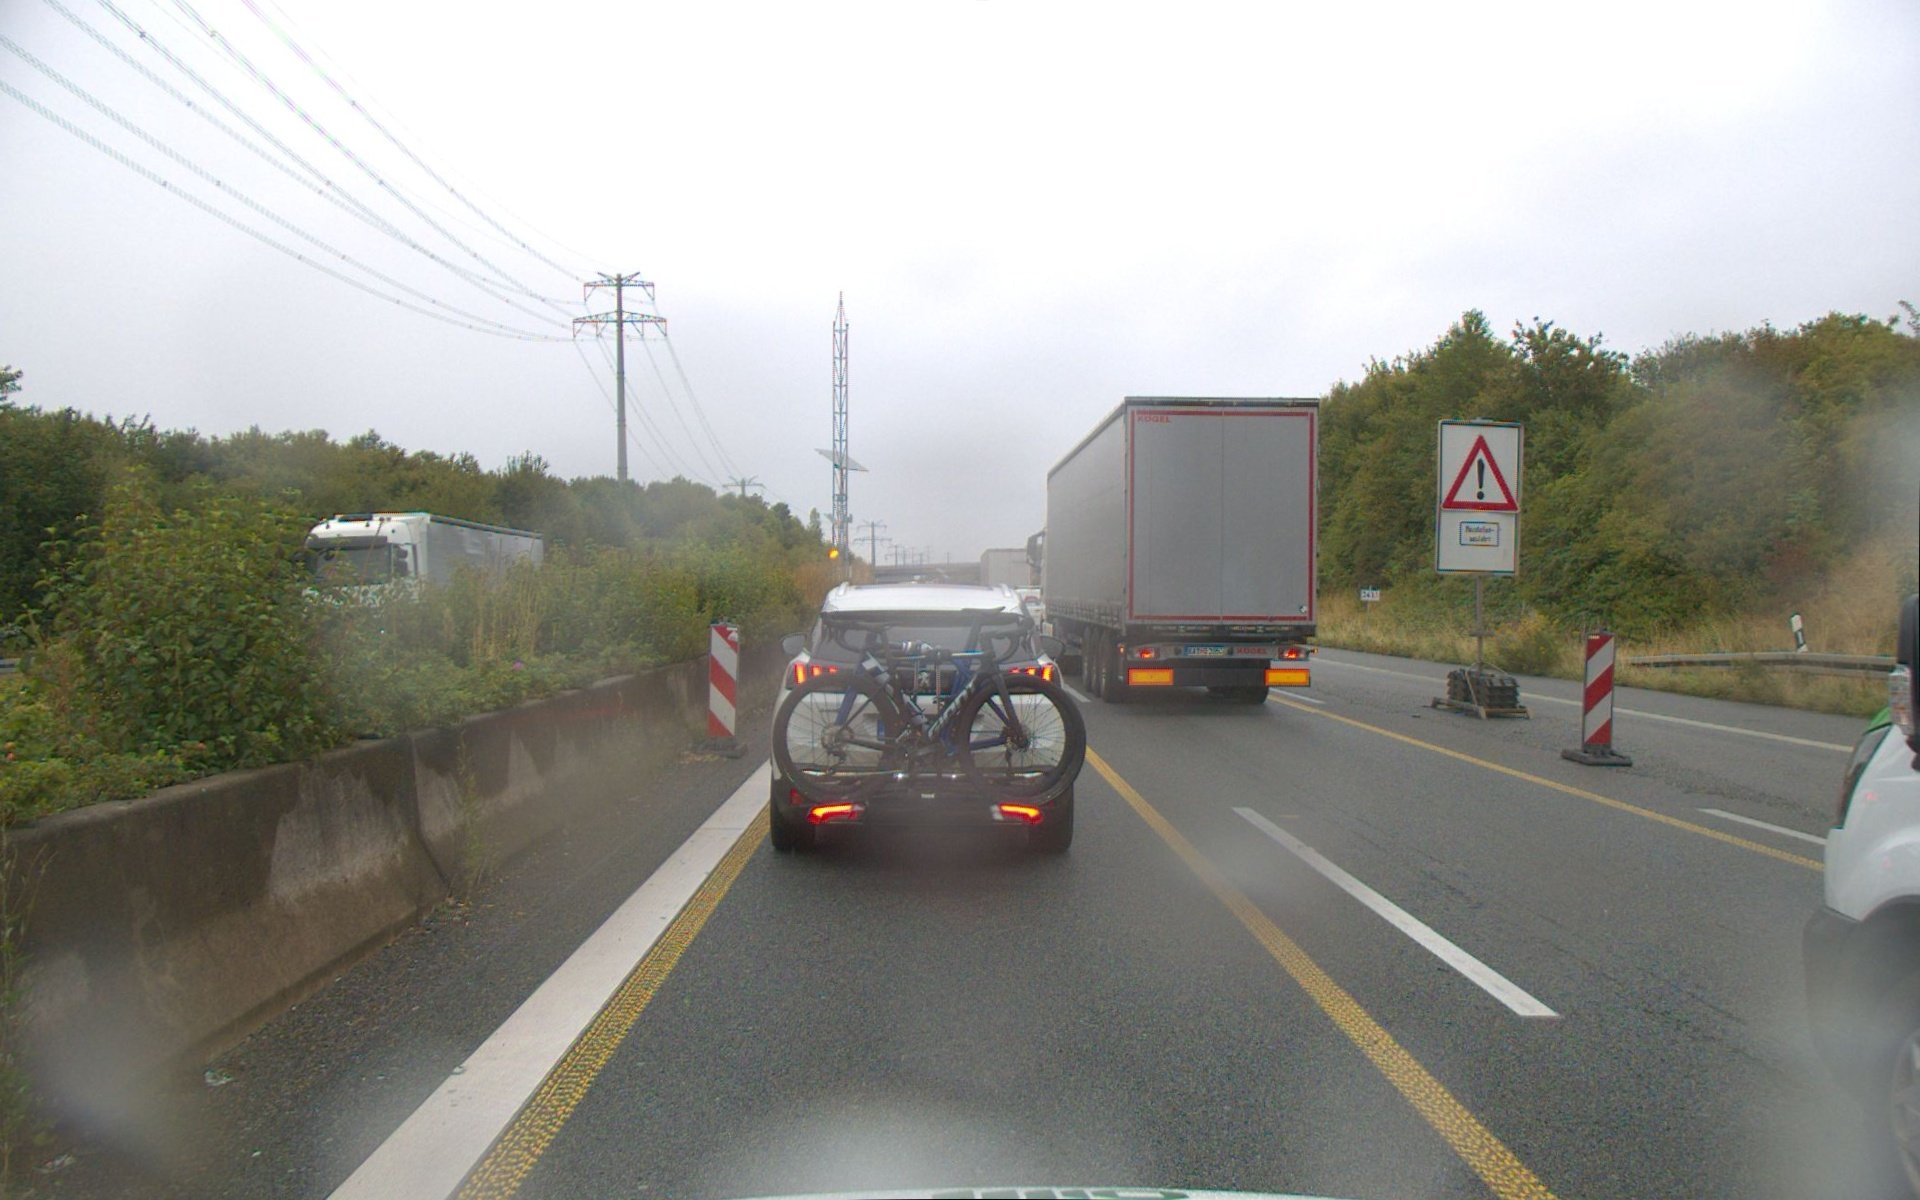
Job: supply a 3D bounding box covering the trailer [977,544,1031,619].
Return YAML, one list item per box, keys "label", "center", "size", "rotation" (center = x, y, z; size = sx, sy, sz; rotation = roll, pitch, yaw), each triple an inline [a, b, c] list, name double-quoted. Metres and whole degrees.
- label: "trailer"
  center: [2.517, -1.050, 99.321]
  size: [2.638, 4.148, 13.630]
  rotation: [0, 0, -1]

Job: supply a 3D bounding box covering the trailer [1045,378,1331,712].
- label: "trailer"
  center: [3.255, -0.714, 27.848]
  size: [2.651, 4.218, 13.728]
  rotation: [0, 0, -1]

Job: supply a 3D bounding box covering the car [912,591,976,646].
- label: "car"
  center: [-0.496, 0.515, 49.036]
  size: [1.812, 1.557, 3.999]
  rotation: [0, 0, -1]

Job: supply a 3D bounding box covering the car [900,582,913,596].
- label: "car"
  center: [-7.973, -1.632, 245.630]
  size: [1.892, 1.944, 4.000]
  rotation: [0, 1, -1]

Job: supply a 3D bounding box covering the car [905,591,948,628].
- label: "car"
  center: [-1.455, 0.381, 71.685]
  size: [1.812, 1.557, 3.999]
  rotation: [0, 0, -1]

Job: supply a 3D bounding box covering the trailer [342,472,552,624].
- label: "trailer"
  center: [-15.870, -1.466, 52.541]
  size: [2.730, 4.093, 13.246]
  rotation: [-3, 0, -2]

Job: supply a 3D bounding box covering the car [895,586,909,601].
- label: "car"
  center: [-7.926, -0.906, 227.468]
  size: [1.892, 2.008, 4.000]
  rotation: [0, 1, -1]

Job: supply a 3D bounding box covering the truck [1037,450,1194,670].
- label: "truck"
  center: [3.126, -0.780, 34.690]
  size: [2.651, 4.211, 5.689]
  rotation: [0, 0, -1]

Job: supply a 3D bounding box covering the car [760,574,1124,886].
- label: "car"
  center: [-0.132, 0.644, 10.660]
  size: [1.812, 1.557, 4.767]
  rotation: [0, 0, -1]

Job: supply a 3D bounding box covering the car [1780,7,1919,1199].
- label: "car"
  center: [3.231, 0.078, 1.521]
  size: [1.953, 2.831, 5.754]
  rotation: [0, 0, -2]

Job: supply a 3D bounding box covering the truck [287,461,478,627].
- label: "truck"
  center: [-15.757, -1.434, 45.740]
  size: [2.730, 4.093, 7.231]
  rotation: [-3, 0, -2]

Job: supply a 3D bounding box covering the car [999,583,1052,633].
- label: "car"
  center: [2.515, 0.309, 64.762]
  size: [1.792, 1.871, 4.654]
  rotation: [0, 0, -1]

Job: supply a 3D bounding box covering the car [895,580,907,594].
- label: "car"
  center: [-9.184, -2.061, 258.530]
  size: [1.892, 2.008, 4.000]
  rotation: [0, 1, -1]

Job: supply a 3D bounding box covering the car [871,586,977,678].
- label: "car"
  center: [-0.655, 0.544, 30.409]
  size: [1.812, 1.557, 3.999]
  rotation: [0, 0, -1]
